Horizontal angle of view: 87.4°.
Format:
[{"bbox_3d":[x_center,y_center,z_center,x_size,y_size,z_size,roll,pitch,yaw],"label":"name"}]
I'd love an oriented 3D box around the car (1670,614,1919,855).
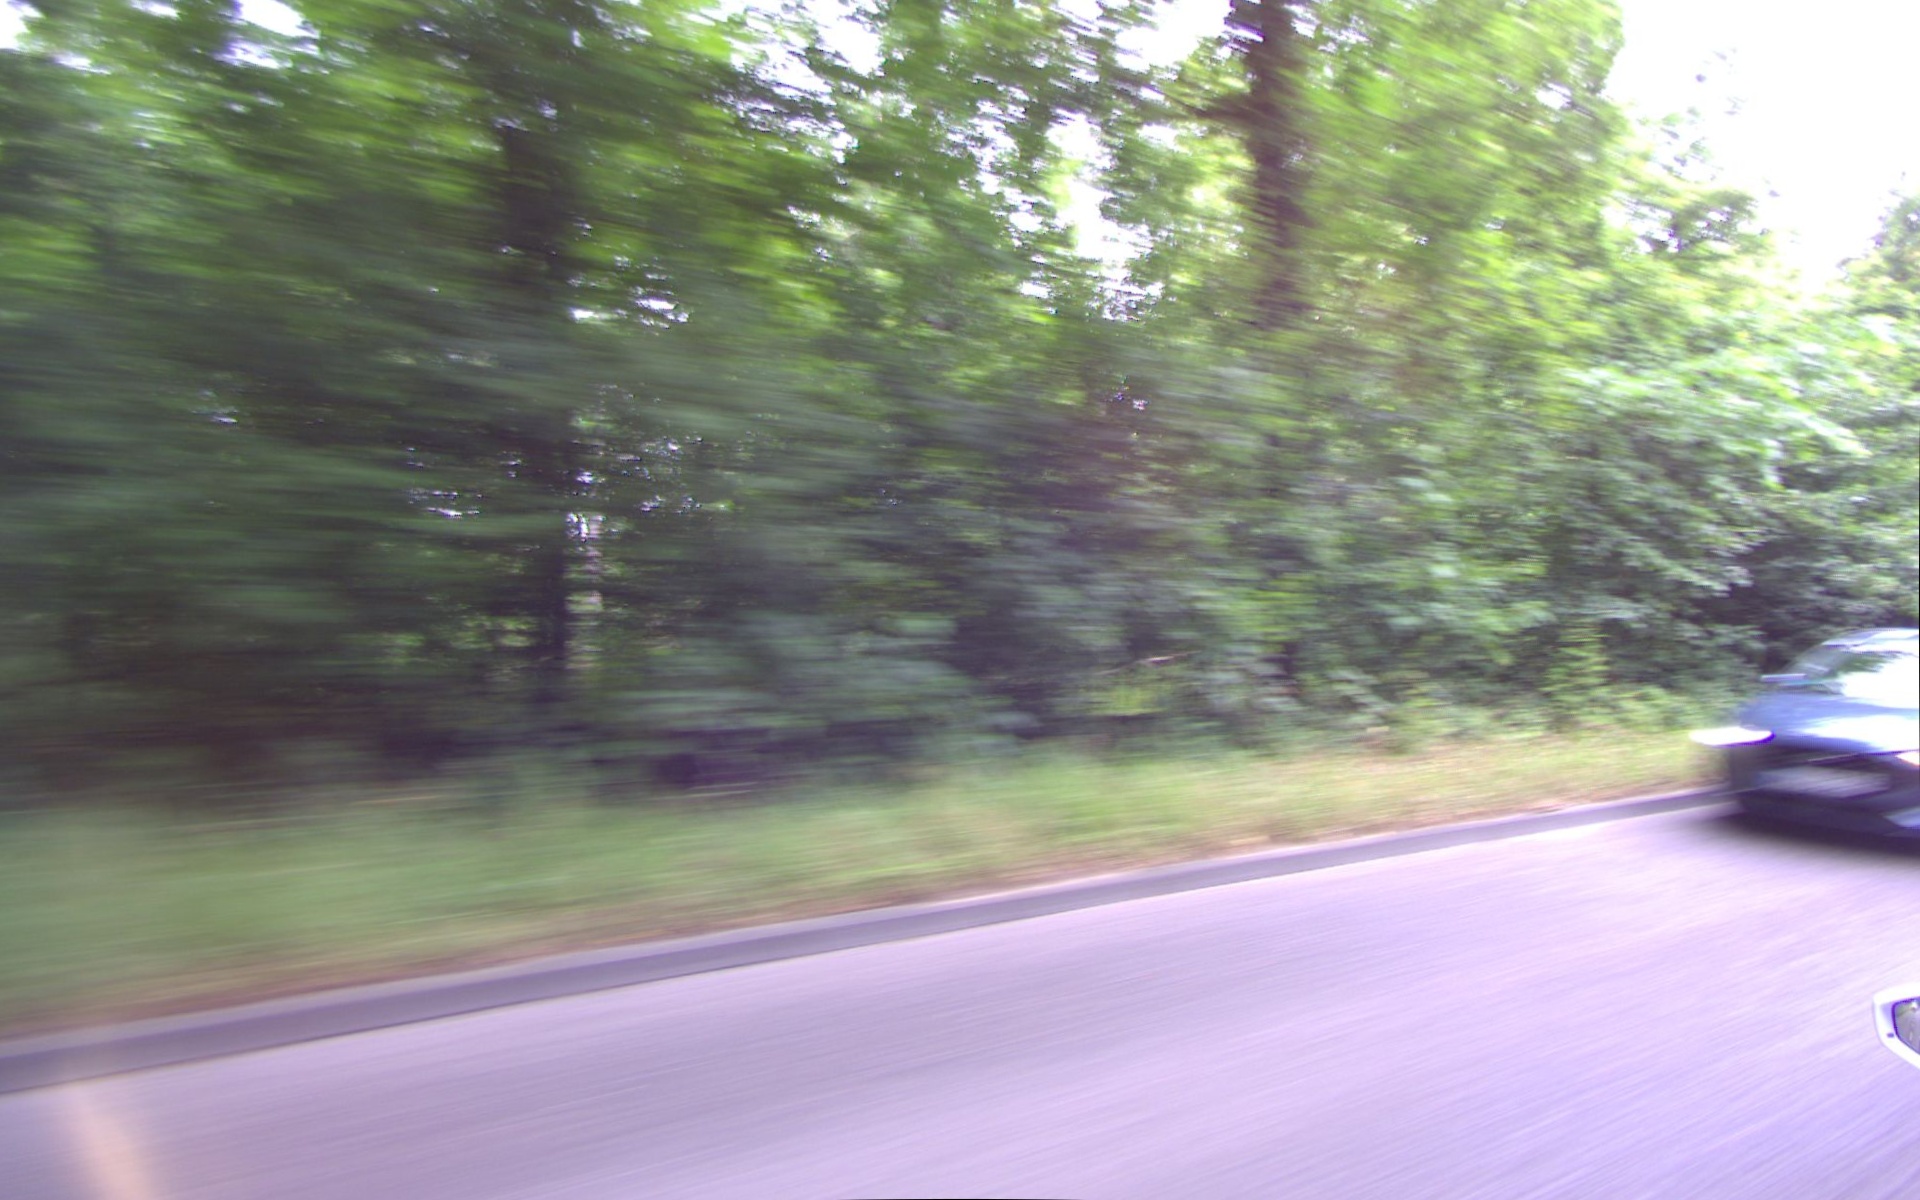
[{"bbox_3d":[7.455,0.918,7.658,3.957,1.456,1.982,2,0,-33],"label":"car"}]
